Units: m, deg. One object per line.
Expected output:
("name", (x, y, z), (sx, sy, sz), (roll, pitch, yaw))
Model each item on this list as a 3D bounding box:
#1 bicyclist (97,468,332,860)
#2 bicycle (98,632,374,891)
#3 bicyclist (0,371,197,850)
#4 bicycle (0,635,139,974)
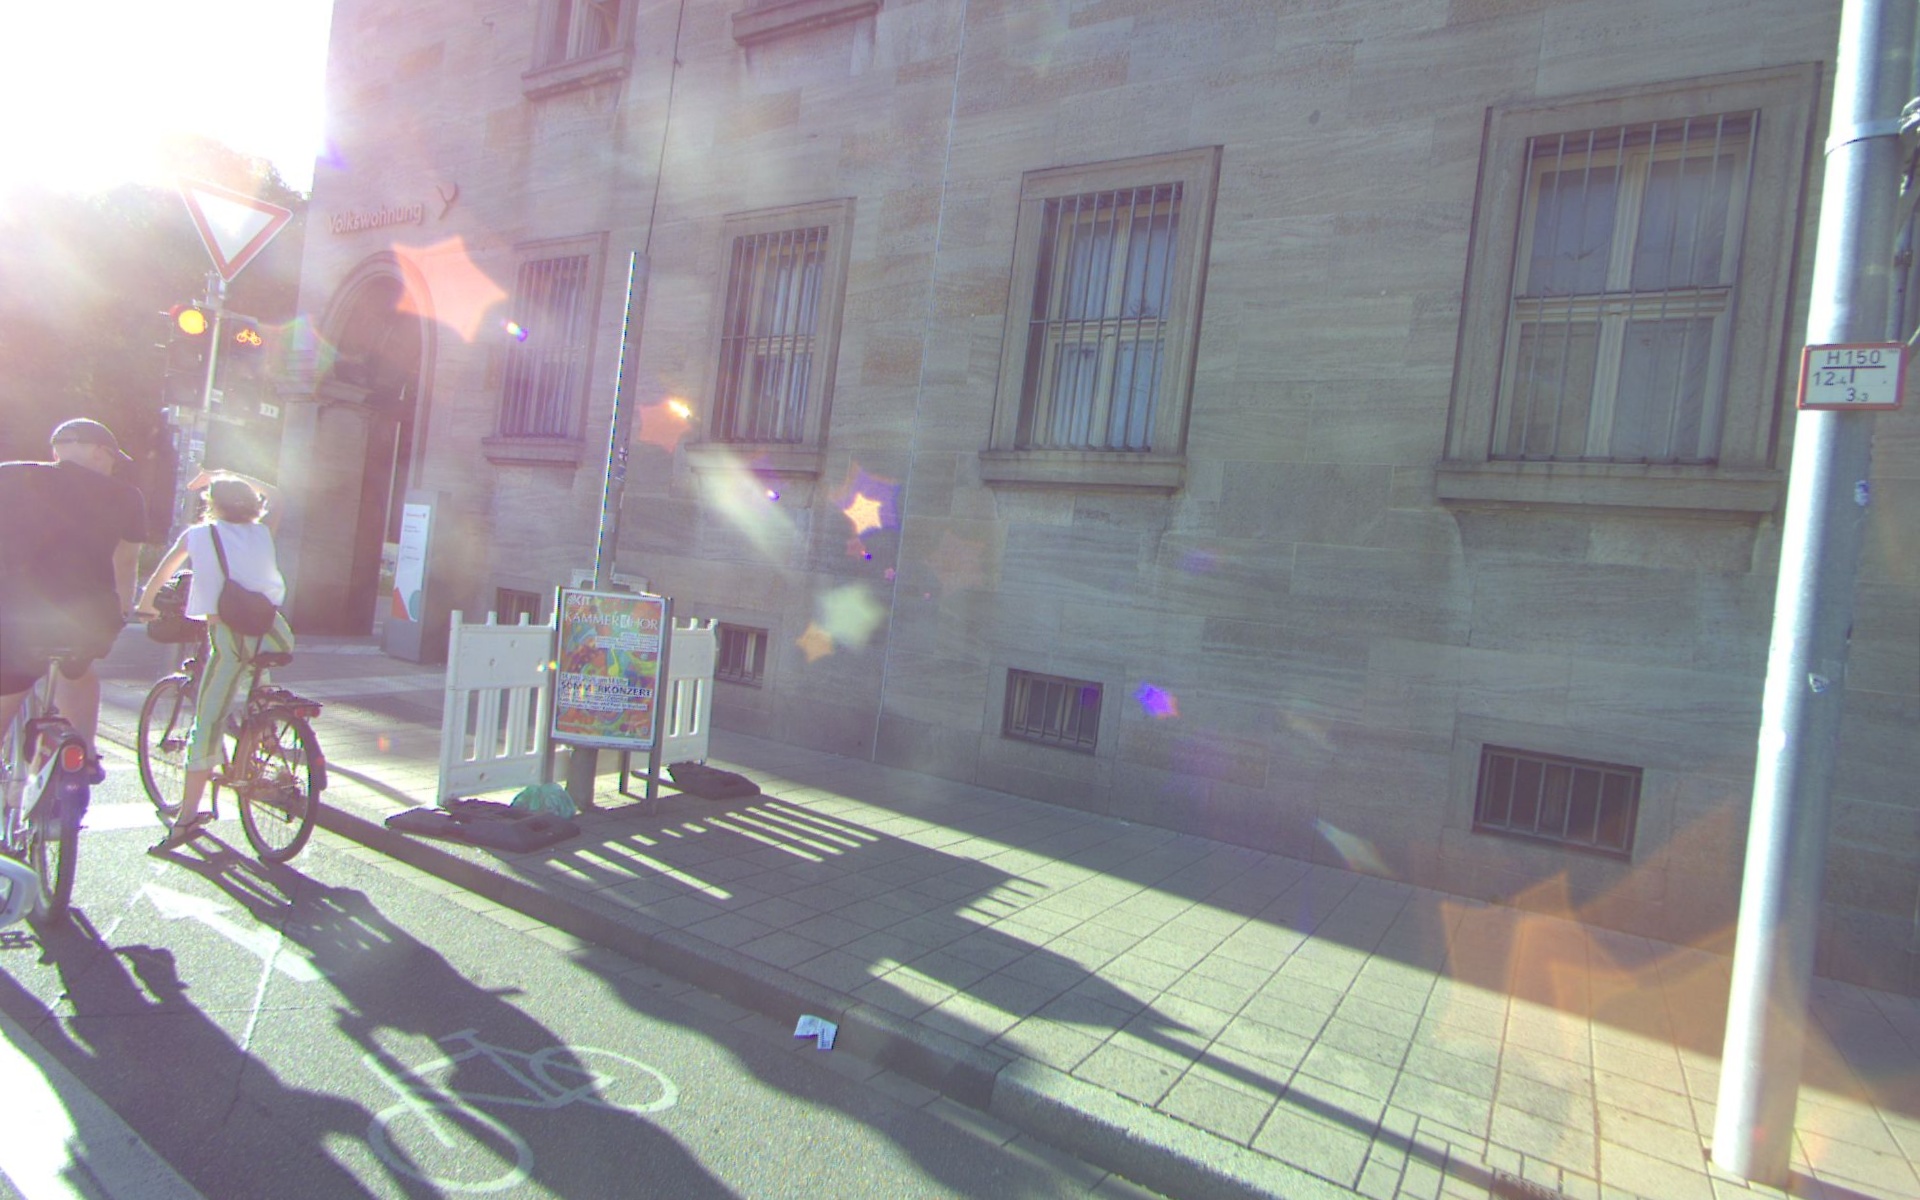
("bicyclist", (-3.587, 0.270, 4.835), (0.845, 1.700, 0.522), (7, 1, 35))
("bicycle", (-3.637, 0.721, 4.981), (1.920, 0.887, 0.427), (7, 0, 35))
("bicyclist", (-3.547, 0.038, 3.905), (0.647, 1.698, 0.669), (7, 1, 40))
("bicycle", (-3.762, 0.694, 3.985), (1.923, 0.916, 0.388), (7, 0, 41))
